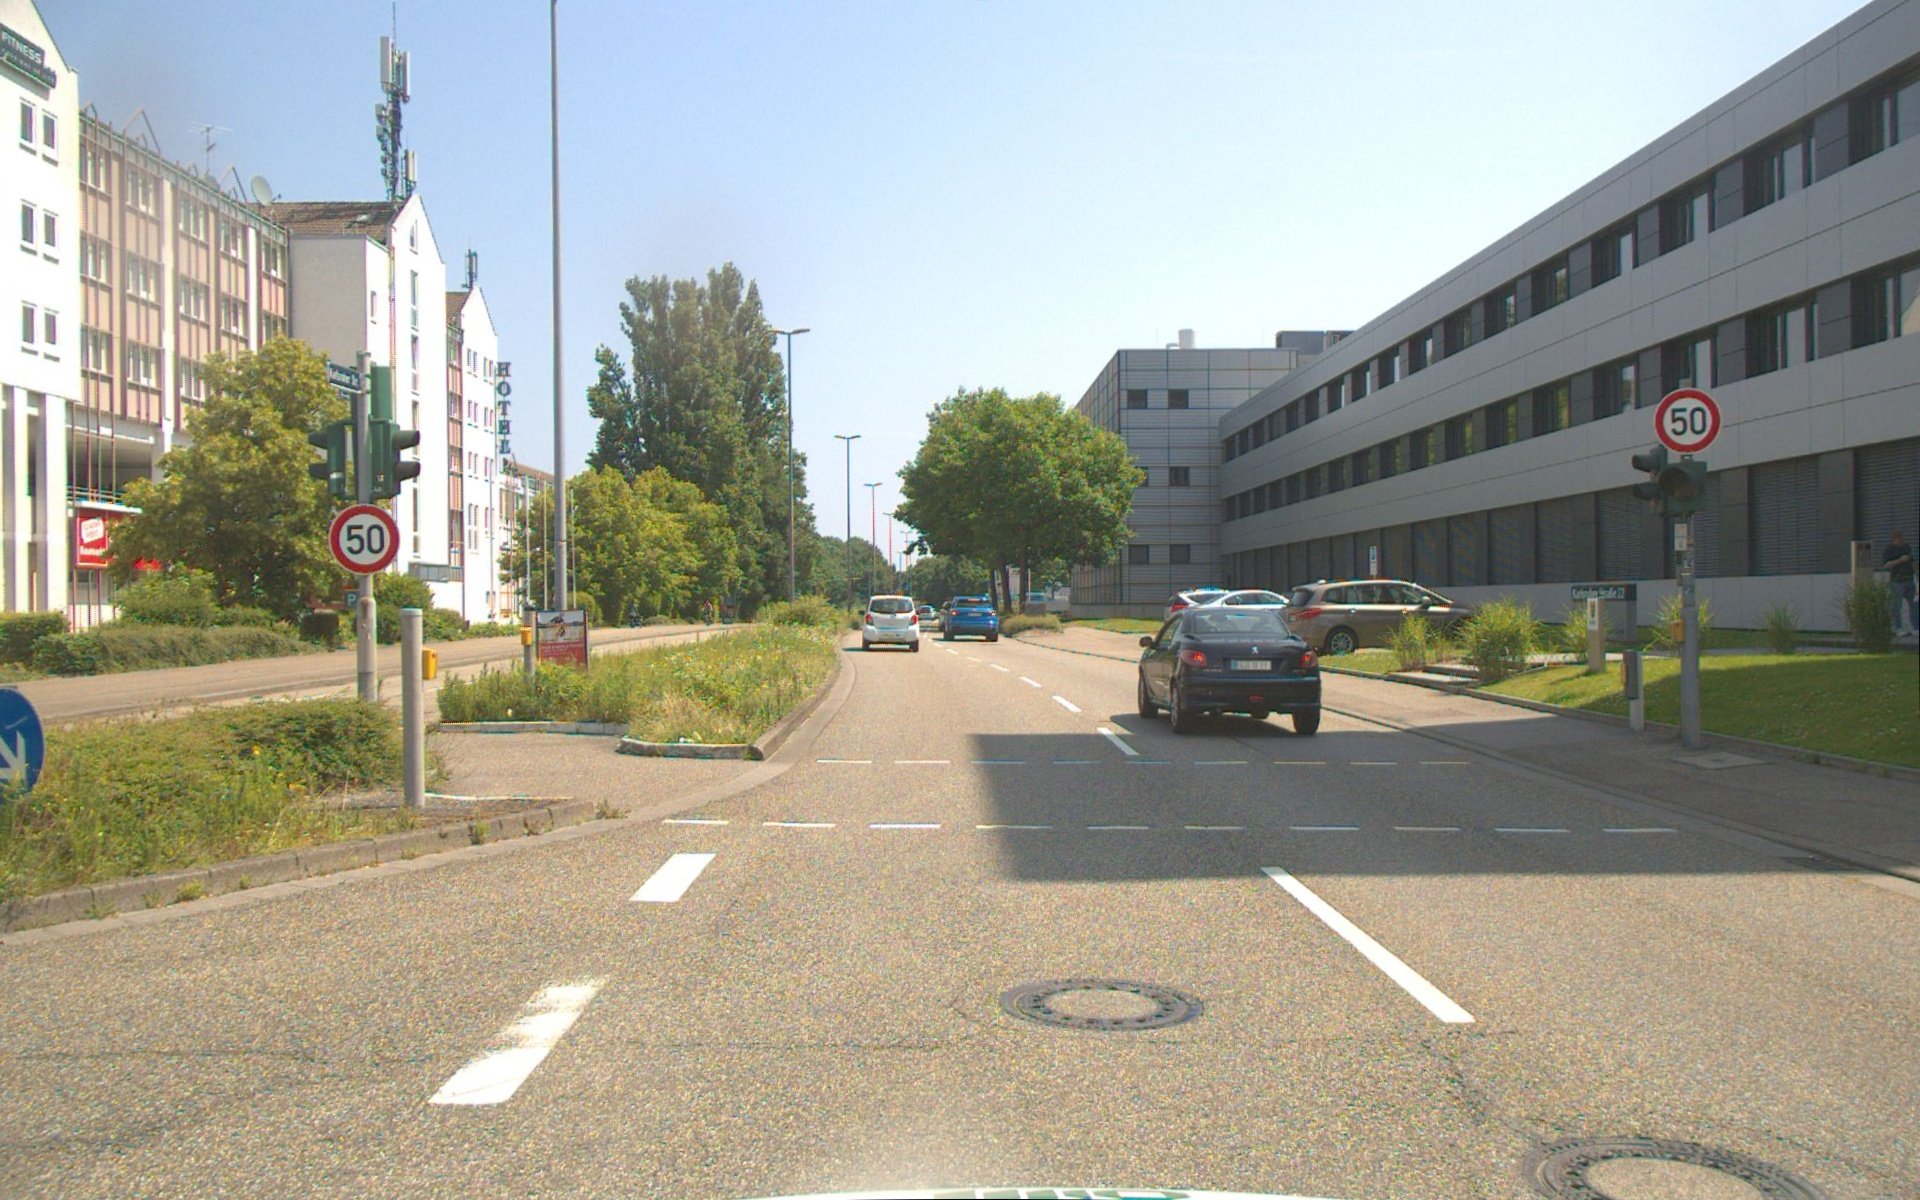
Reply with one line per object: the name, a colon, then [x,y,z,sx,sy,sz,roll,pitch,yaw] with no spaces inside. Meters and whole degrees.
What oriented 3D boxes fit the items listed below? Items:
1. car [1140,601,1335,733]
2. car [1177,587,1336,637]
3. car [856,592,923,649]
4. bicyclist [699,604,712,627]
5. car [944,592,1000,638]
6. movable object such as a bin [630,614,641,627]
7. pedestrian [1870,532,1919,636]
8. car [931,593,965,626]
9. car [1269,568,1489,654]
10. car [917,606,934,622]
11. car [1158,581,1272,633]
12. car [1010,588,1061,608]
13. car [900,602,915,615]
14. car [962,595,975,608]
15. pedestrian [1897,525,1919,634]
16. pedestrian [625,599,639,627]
car: [3.164,0.718,19.482,1.594,1.388,3.604,0,0,-2]
car: [9.210,0.349,51.565,4.523,1.414,1.998,-1,0,-5]
car: [-1.986,0.558,47.462,1.712,1.546,3.746,0,0,1]
bicyclist: [-17.110,1.056,111.225,0.703,1.542,1.026,-1,0,-5]
car: [0.410,0.516,59.477,1.791,1.608,3.603,-1,0,-3]
movable object such as a bin: [-18.154,1.148,92.521,0.419,0.718,0.652,-1,-1,7]
pedestrian: [15.321,-0.259,27.046,0.580,1.663,0.524,-1,0,7]
car: [-0.578,0.457,81.125,1.527,1.546,3.606,-1,0,2]
car: [9.002,0.224,35.776,4.176,1.718,1.998,-1,0,-5]
car: [-3.705,1.486,176.810,1.783,1.691,3.999,-1,0,-2]
car: [9.281,0.256,60.297,3.739,1.619,1.730,-3,0,-5]
car: [6.789,-0.159,148.376,4.408,1.610,1.999,-2,-1,-2]
car: [-6.971,1.119,220.226,1.784,1.691,3.996,-1,1,-5]
car: [1.374,0.234,260.059,1.735,2.049,3.987,-1,0,-4]
pedestrian: [15.102,-0.320,25.706,0.513,1.692,0.753,-1,0,-18]
pedestrian: [-18.458,0.730,92.969,0.620,1.572,0.727,-1,-1,-1]
